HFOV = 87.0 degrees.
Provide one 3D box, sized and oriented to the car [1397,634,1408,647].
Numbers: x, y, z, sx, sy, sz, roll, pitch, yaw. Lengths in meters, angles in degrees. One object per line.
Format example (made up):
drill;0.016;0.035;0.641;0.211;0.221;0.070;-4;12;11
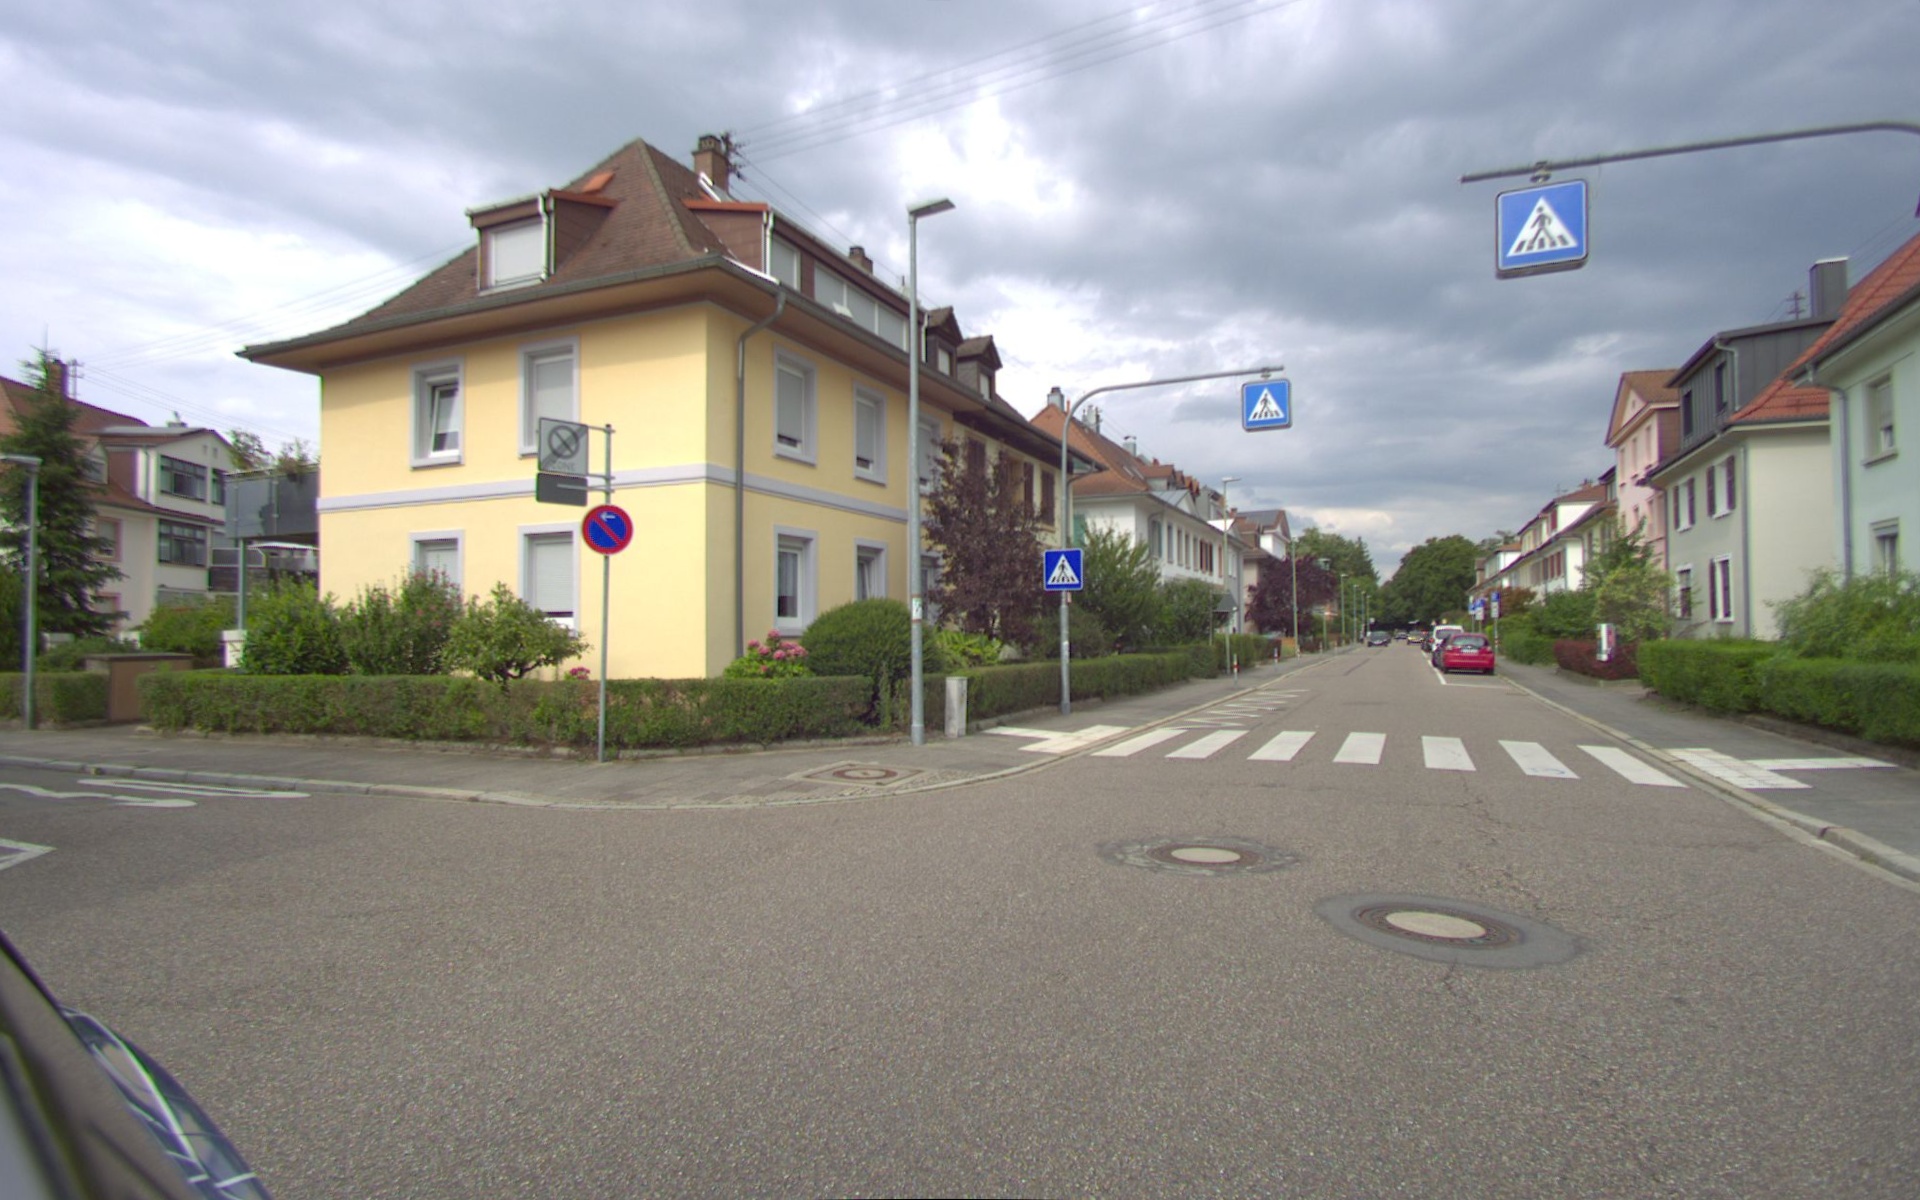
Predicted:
car;74.341;6.819;170.009;1.618;2.029;3.879;-1;-2;22

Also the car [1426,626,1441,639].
car;74.644;5.156;159.547;1.988;2.029;3.967;0;-2;24

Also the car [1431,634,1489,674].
car;20.954;2.248;42.578;1.988;1.586;3.967;-1;-2;24

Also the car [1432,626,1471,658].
car;30.656;2.613;63.172;1.988;1.918;3.967;-1;-2;24

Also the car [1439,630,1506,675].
car;19.058;1.922;37.751;1.988;1.586;3.967;-1;-2;24

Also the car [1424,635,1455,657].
car;36.834;3.514;77.822;1.988;1.586;3.967;-1;-2;24

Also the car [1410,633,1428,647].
car;54.204;4.723;119.485;1.825;1.497;3.968;0;-2;23

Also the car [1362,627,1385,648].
car;41.606;3.765;101.786;1.988;2.029;3.967;-1;-2;24

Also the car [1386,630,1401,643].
car;61.710;5.213;144.009;1.801;1.894;3.916;-2;-2;24
